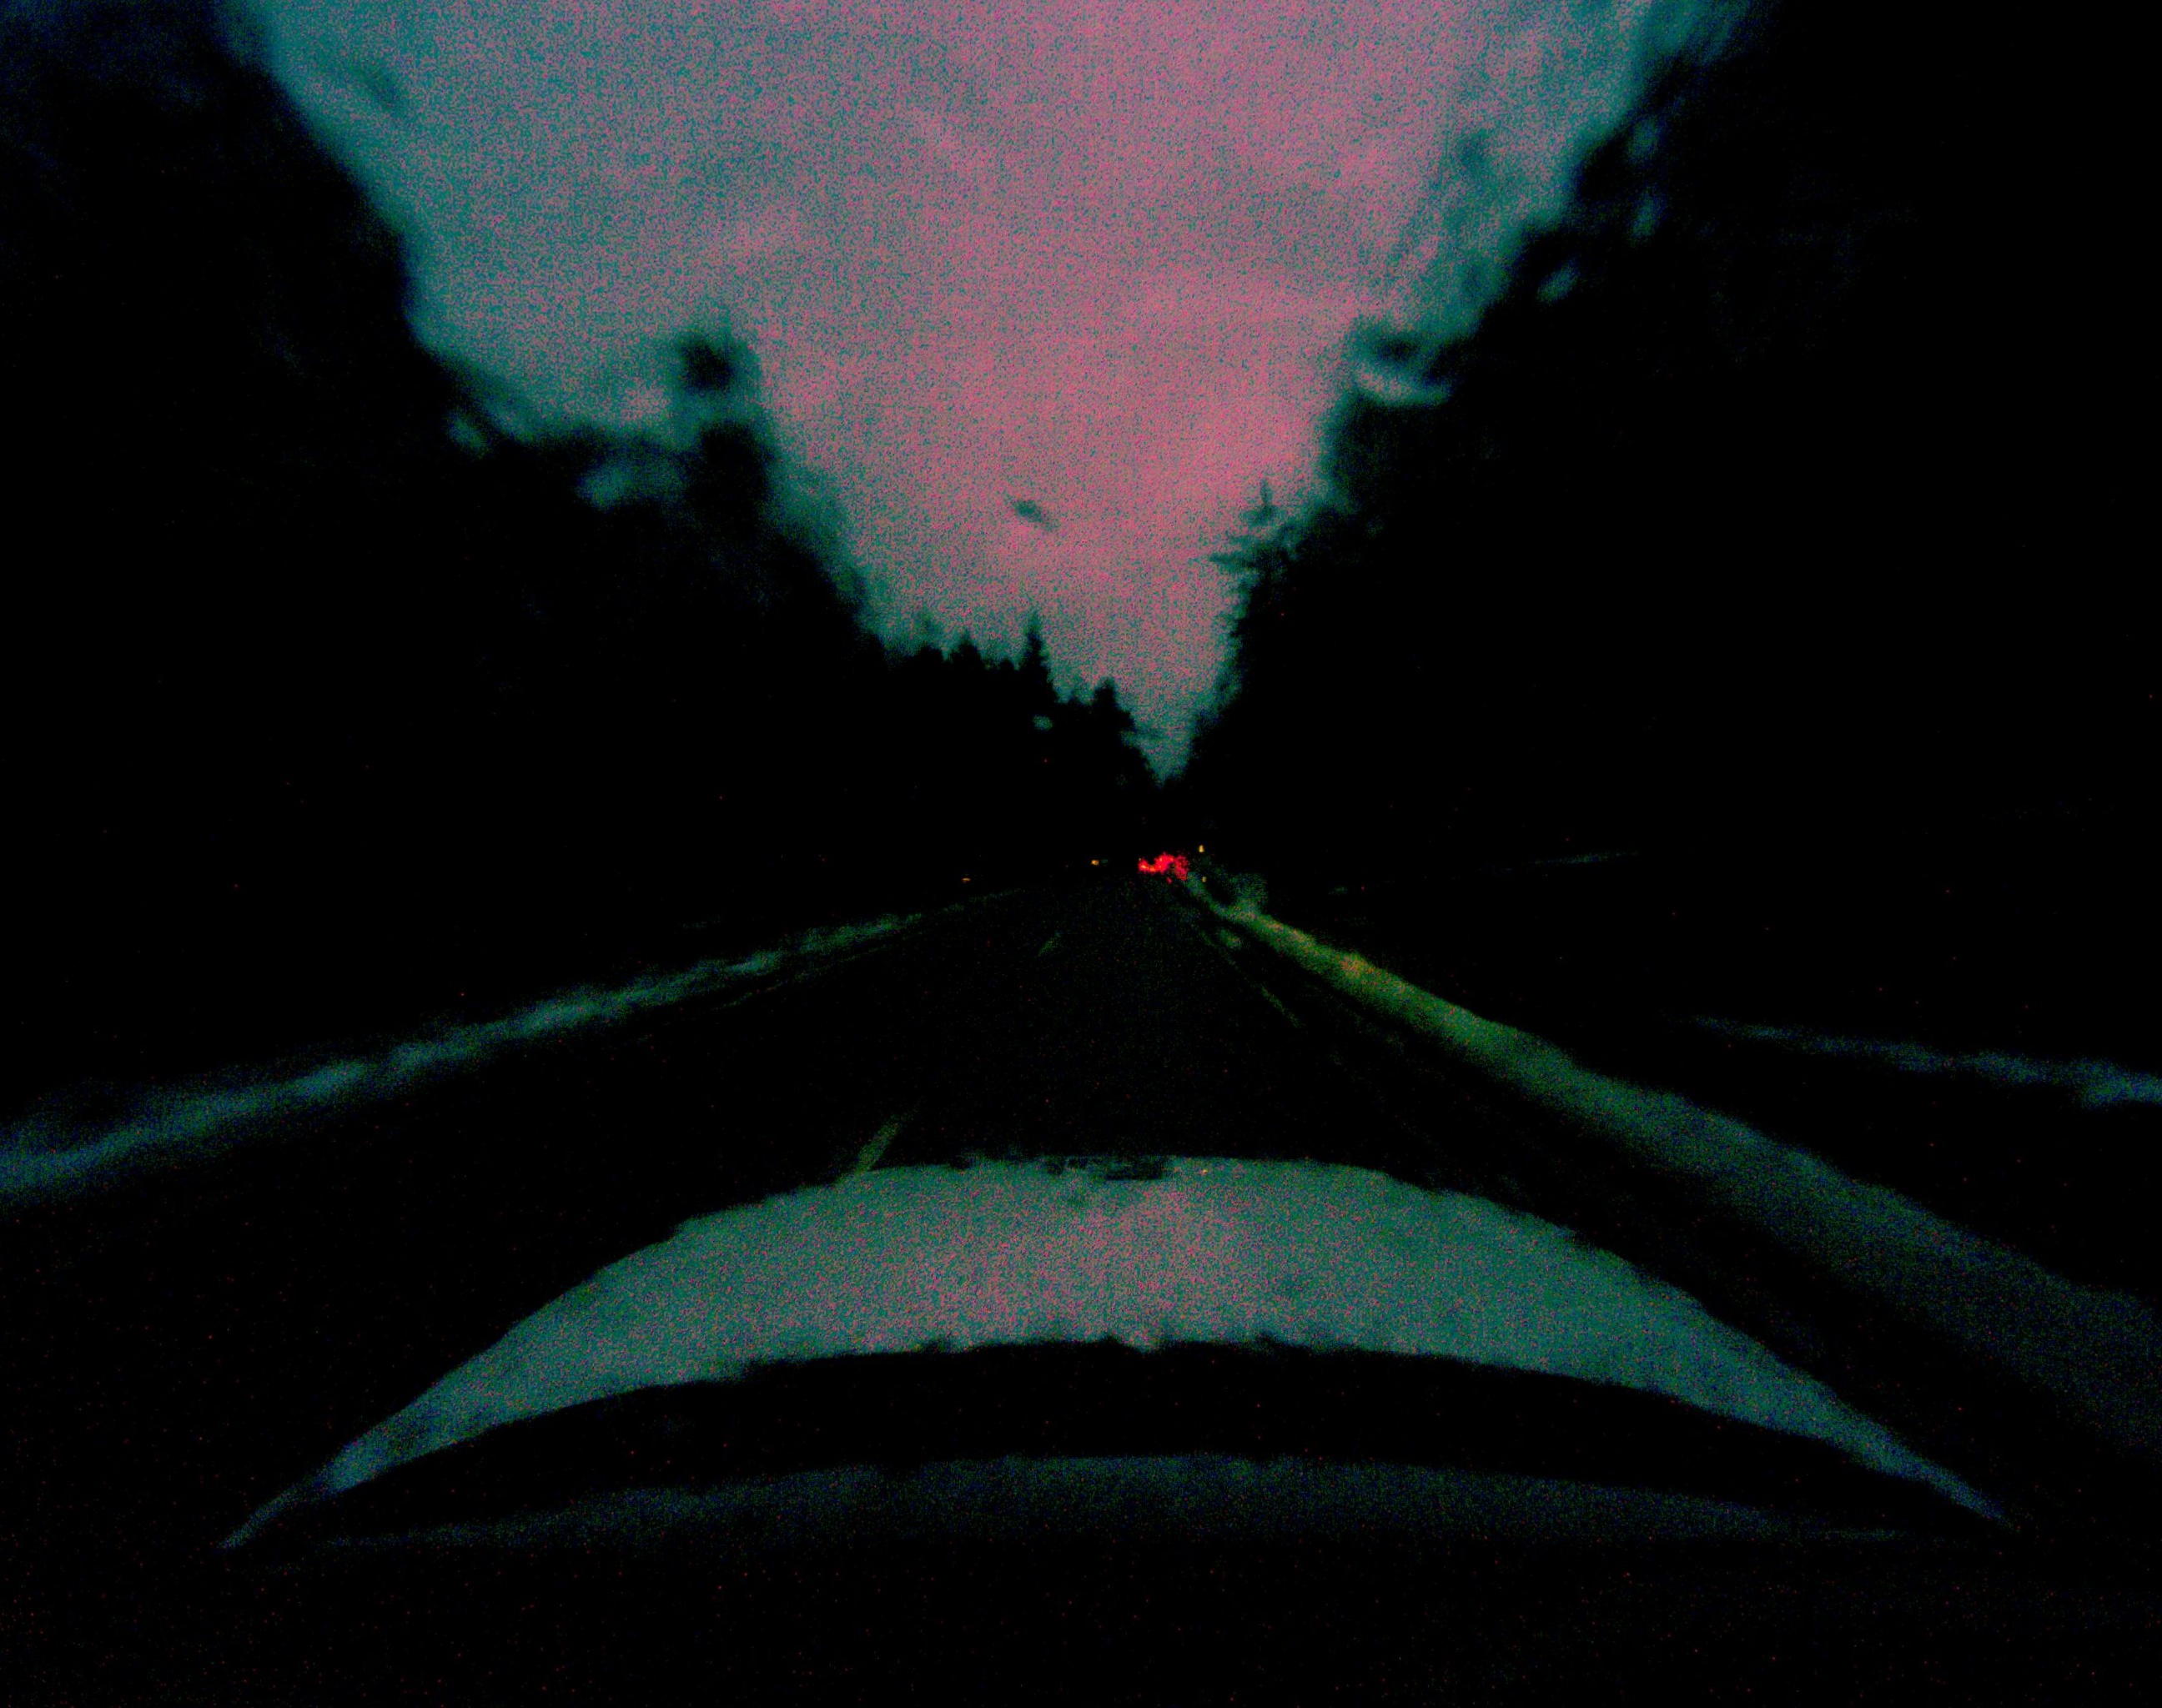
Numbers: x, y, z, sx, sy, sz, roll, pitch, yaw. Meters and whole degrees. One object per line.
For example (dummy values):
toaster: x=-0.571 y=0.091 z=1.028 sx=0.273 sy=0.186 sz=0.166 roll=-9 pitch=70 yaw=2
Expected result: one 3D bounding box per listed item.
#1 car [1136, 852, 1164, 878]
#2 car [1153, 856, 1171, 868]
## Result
car: x=5.573 y=0.867 z=66.040 sx=1.986 sy=1.872 sz=4.003 roll=-6 pitch=0 yaw=3
car: x=10.064 y=0.984 z=101.406 sx=1.986 sy=1.310 sz=4.003 roll=-6 pitch=0 yaw=3
